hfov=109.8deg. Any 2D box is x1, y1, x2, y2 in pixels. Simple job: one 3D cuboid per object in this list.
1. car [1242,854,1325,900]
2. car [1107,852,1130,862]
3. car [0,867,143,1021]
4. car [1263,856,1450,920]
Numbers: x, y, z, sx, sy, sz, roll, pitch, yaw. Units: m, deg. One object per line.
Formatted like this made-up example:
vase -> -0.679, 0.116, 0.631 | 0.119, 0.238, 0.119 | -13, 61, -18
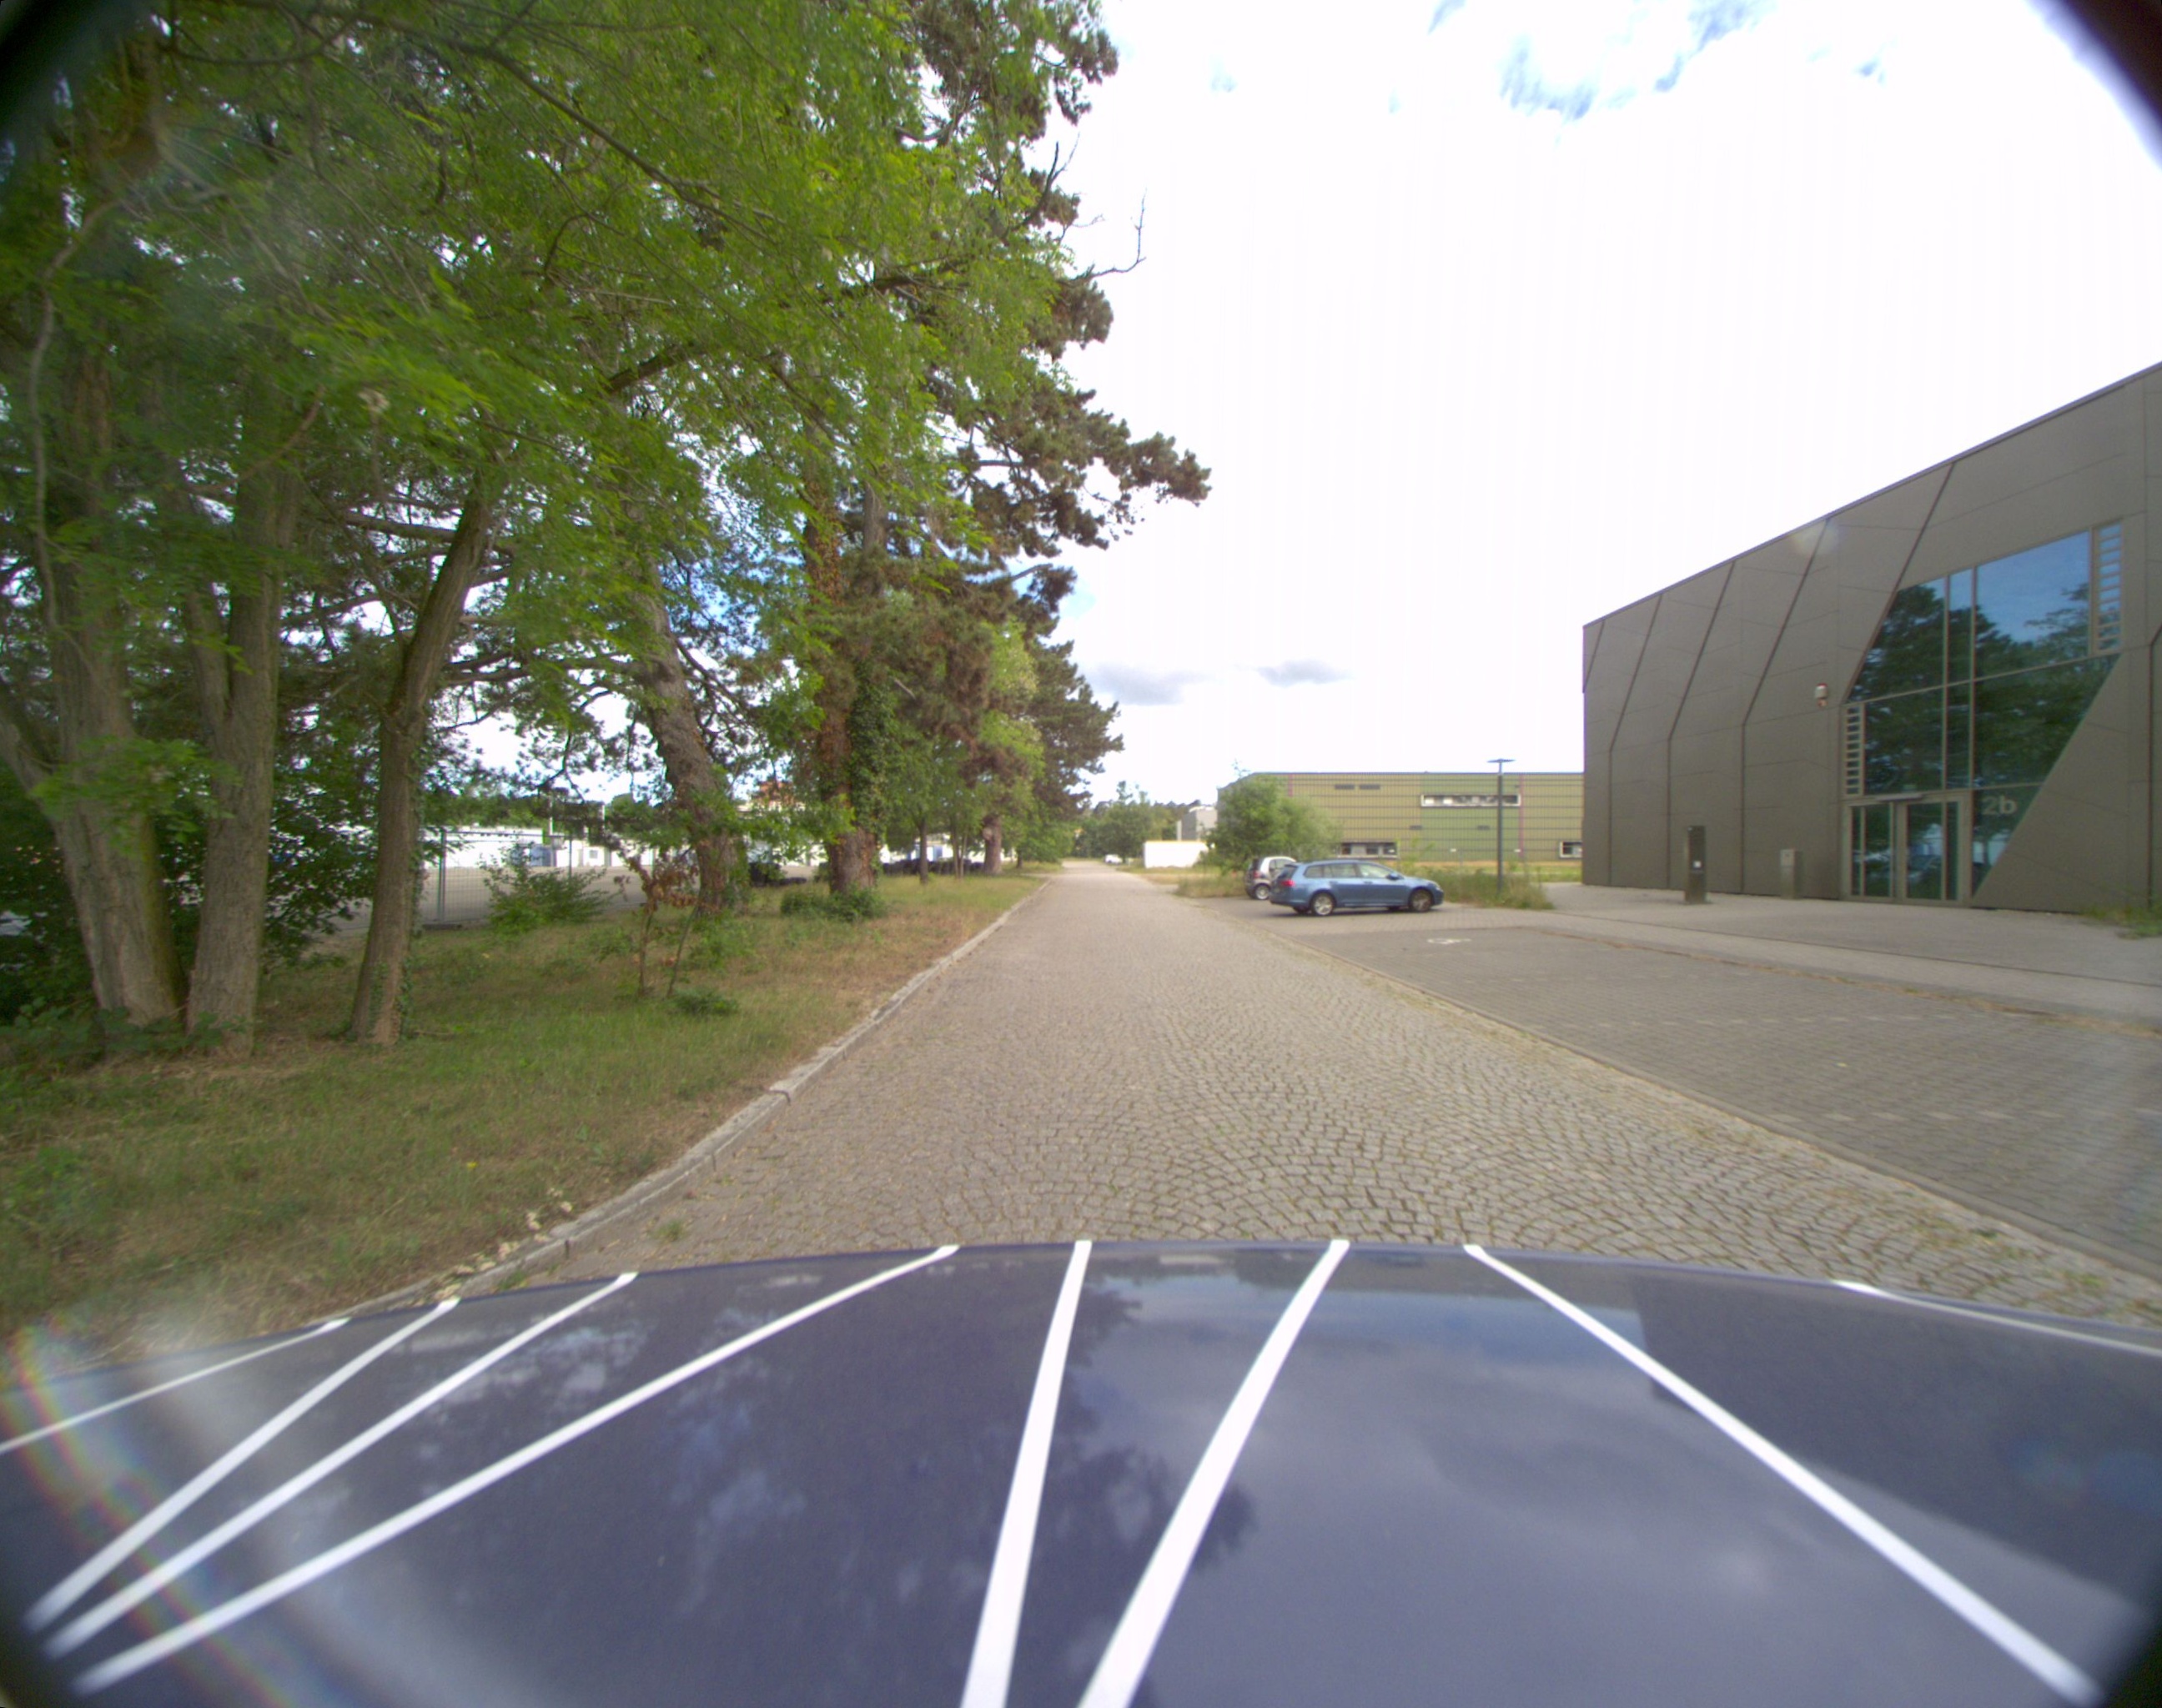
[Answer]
car -> 7.397, 0.816, 27.911 | 2.584, 1.521, 1.500 | -2, 1, -2
car -> 6.934, 0.525, 140.343 | 4.062, 1.767, 1.792 | -1, 1, 0
car -> -11.127, 0.895, 6.109 | 1.678, 1.442, 4.488 | -1, 1, -2
car -> 7.368, 0.881, 20.542 | 4.427, 1.461, 1.633 | -2, 1, -2
